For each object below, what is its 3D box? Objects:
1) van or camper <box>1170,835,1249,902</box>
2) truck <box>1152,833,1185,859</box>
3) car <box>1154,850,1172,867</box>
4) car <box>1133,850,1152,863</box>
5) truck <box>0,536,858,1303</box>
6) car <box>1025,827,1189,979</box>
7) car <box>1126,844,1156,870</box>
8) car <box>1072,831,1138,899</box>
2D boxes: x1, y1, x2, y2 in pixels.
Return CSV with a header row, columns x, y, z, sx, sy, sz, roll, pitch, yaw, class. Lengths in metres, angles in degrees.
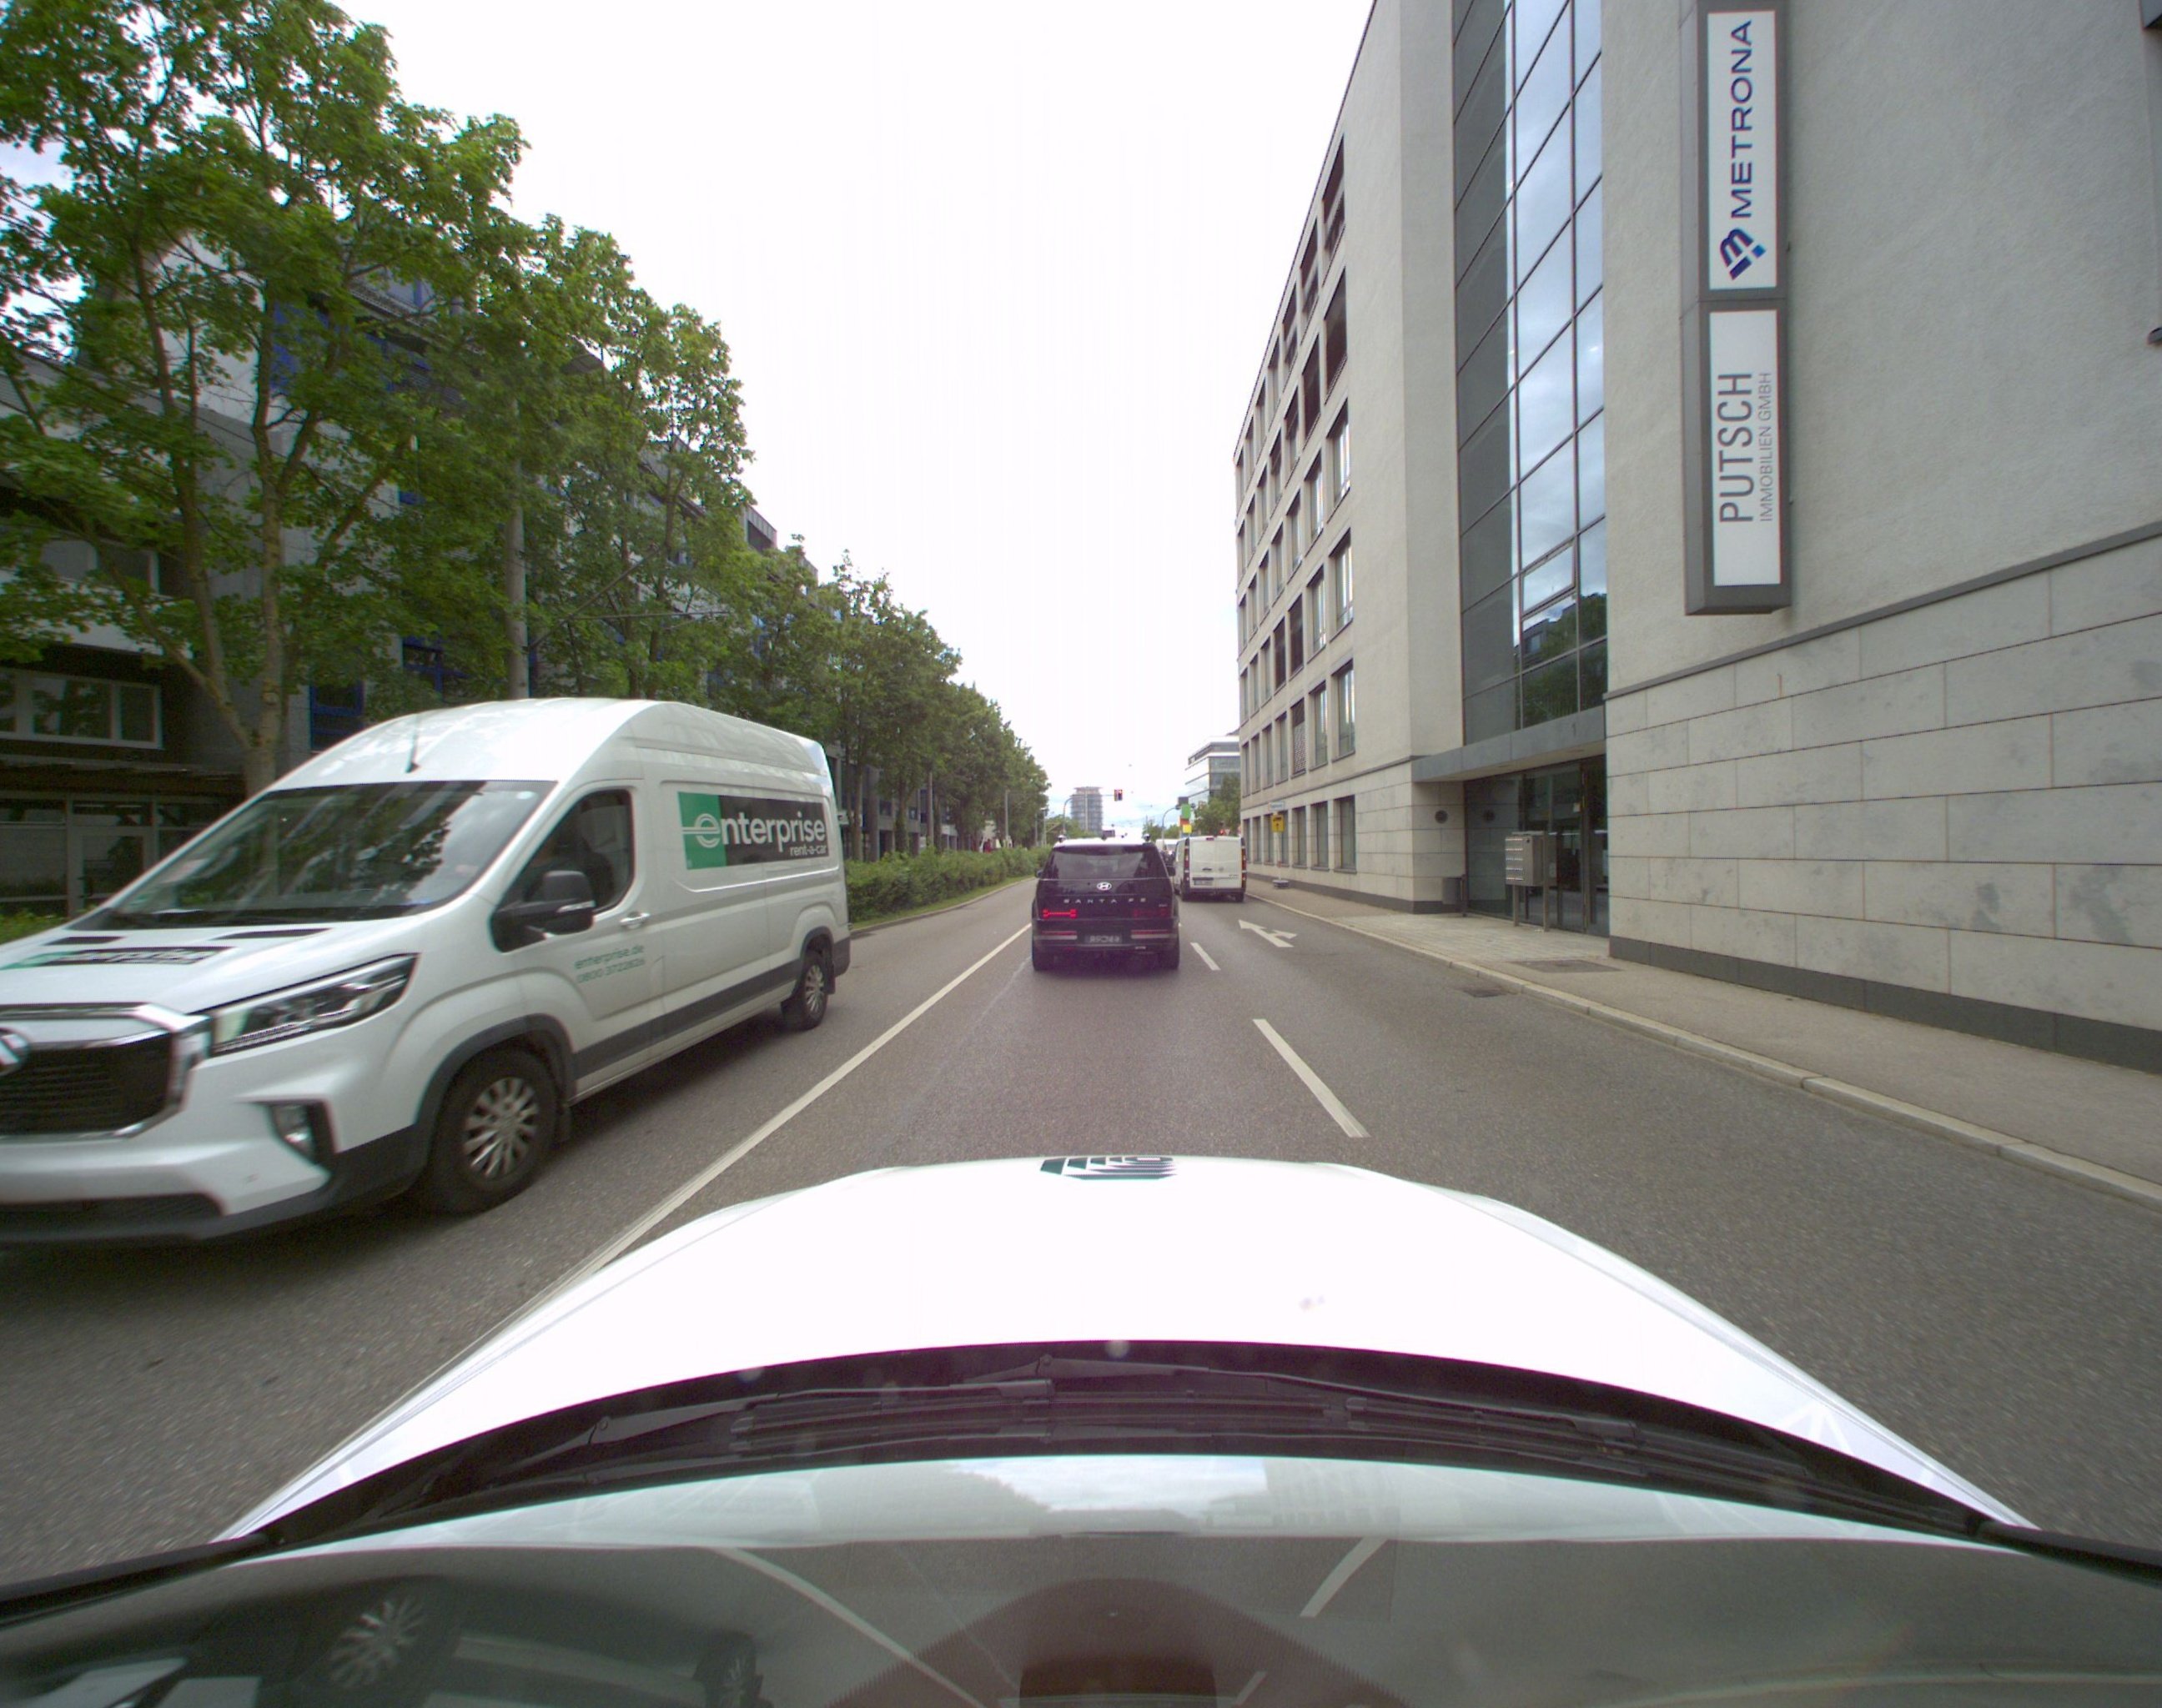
x,y,z,sx,sy,sz,roll,pitch,yaw,class
3.936,0.401,25.584,1.986,1.915,4.334,0,0,2,van or camper
9.973,-0.872,93.555,2.330,2.748,6.470,-2,0,-7,truck
7.992,0.421,79.491,1.751,1.609,4.194,-1,0,5,car
7.878,0.328,105.178,1.988,1.618,3.997,-2,0,-2,car
-3.585,0.232,5.708,2.156,2.615,5.800,-1,0,3,truck
0.288,0.579,11.737,1.903,1.749,4.395,-1,0,-1,car
4.241,0.206,58.245,1.986,1.790,4.003,-1,0,2,car
0.712,0.320,26.794,1.926,1.994,4.533,-1,0,-1,car
